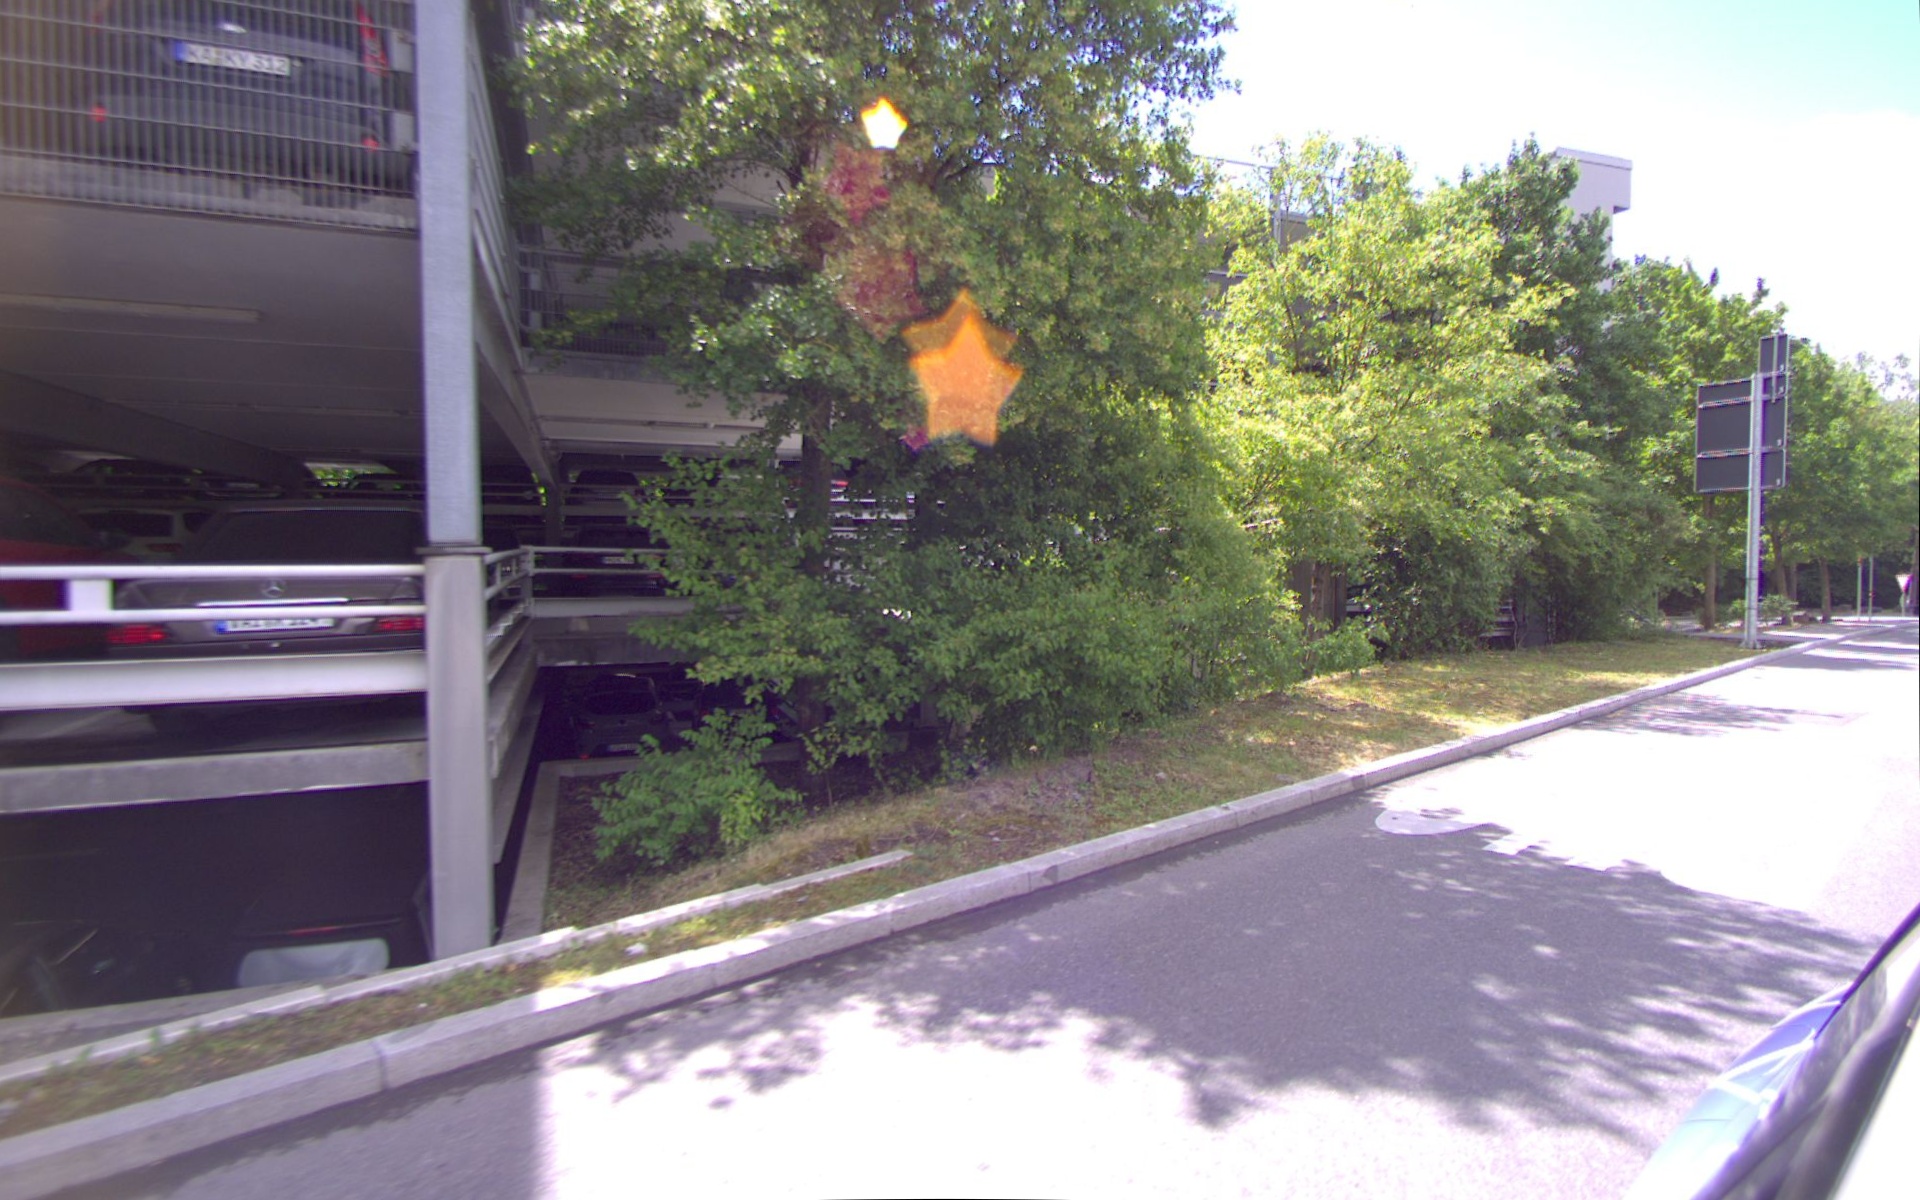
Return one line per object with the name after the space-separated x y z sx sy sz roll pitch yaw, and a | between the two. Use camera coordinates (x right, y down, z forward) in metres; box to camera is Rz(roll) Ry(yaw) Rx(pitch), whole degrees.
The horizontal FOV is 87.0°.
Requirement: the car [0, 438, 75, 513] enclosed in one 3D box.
-18.626 -2.339 18.923 1.795 1.341 3.723 0 4 -18 | car

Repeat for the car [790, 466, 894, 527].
-2.958 -2.459 24.653 1.795 1.341 3.723 0 4 -18 | car

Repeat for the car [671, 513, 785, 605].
-4.528 -0.834 19.354 1.732 1.569 3.946 0 4 -19 | car

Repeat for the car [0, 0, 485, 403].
-4.175 -2.332 6.490 1.624 1.429 3.712 2 1 -19 | car

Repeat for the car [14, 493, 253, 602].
-12.793 -0.837 15.974 1.716 1.503 3.867 0 3 -20 | car

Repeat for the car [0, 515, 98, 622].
-14.615 -0.499 14.886 1.660 1.503 3.867 0 3 -20 | car

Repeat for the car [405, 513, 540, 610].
-8.246 -0.699 17.418 1.716 1.460 3.867 0 3 -20 | car

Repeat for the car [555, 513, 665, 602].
-6.449 -0.810 18.608 1.716 1.442 3.867 0 3 -20 | car

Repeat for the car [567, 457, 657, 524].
-7.896 -2.437 23.084 1.795 1.341 3.723 0 4 -18 | car

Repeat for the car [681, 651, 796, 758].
-4.439 1.944 19.885 1.716 1.442 3.867 0 3 -20 | car

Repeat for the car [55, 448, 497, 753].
-4.123 -0.064 6.759 1.624 1.429 3.712 0 2 -21 | car

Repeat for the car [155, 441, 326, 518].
-14.502 -2.384 20.638 1.795 1.341 3.723 0 4 -18 | car

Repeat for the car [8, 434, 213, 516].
-16.420 -2.361 19.811 1.795 1.341 3.723 0 4 -18 | car

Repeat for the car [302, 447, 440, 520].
-12.421 -2.411 21.572 1.795 1.341 3.723 0 4 -18 | car

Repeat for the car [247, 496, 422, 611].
-10.225 -0.797 16.843 1.716 1.665 3.867 0 3 -20 | car

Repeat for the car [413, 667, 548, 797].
-8.052 2.118 17.293 1.716 1.442 3.867 0 3 -20 | car

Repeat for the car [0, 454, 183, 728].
-6.648 -0.079 6.390 1.798 1.533 3.866 -1 2 -22 | car

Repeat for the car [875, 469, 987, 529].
-0.813 -2.471 25.371 1.795 1.341 3.723 0 4 -18 | car

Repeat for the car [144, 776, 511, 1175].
-4.583 2.539 7.940 1.798 1.470 3.743 0 2 -22 | car

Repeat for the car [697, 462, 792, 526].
-5.175 -2.452 23.991 1.795 1.341 3.723 0 4 -18 | car

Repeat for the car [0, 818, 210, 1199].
-6.528 2.666 6.512 1.798 1.470 3.866 0 2 -22 | car

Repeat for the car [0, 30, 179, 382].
-6.537 -2.526 6.220 1.624 1.582 3.712 2 1 -19 | car

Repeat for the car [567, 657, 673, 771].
-6.441 2.029 19.059 1.716 1.442 3.867 0 3 -20 | car

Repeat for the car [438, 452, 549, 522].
-10.188 -2.425 22.340 1.795 1.341 3.723 0 4 -18 | car
